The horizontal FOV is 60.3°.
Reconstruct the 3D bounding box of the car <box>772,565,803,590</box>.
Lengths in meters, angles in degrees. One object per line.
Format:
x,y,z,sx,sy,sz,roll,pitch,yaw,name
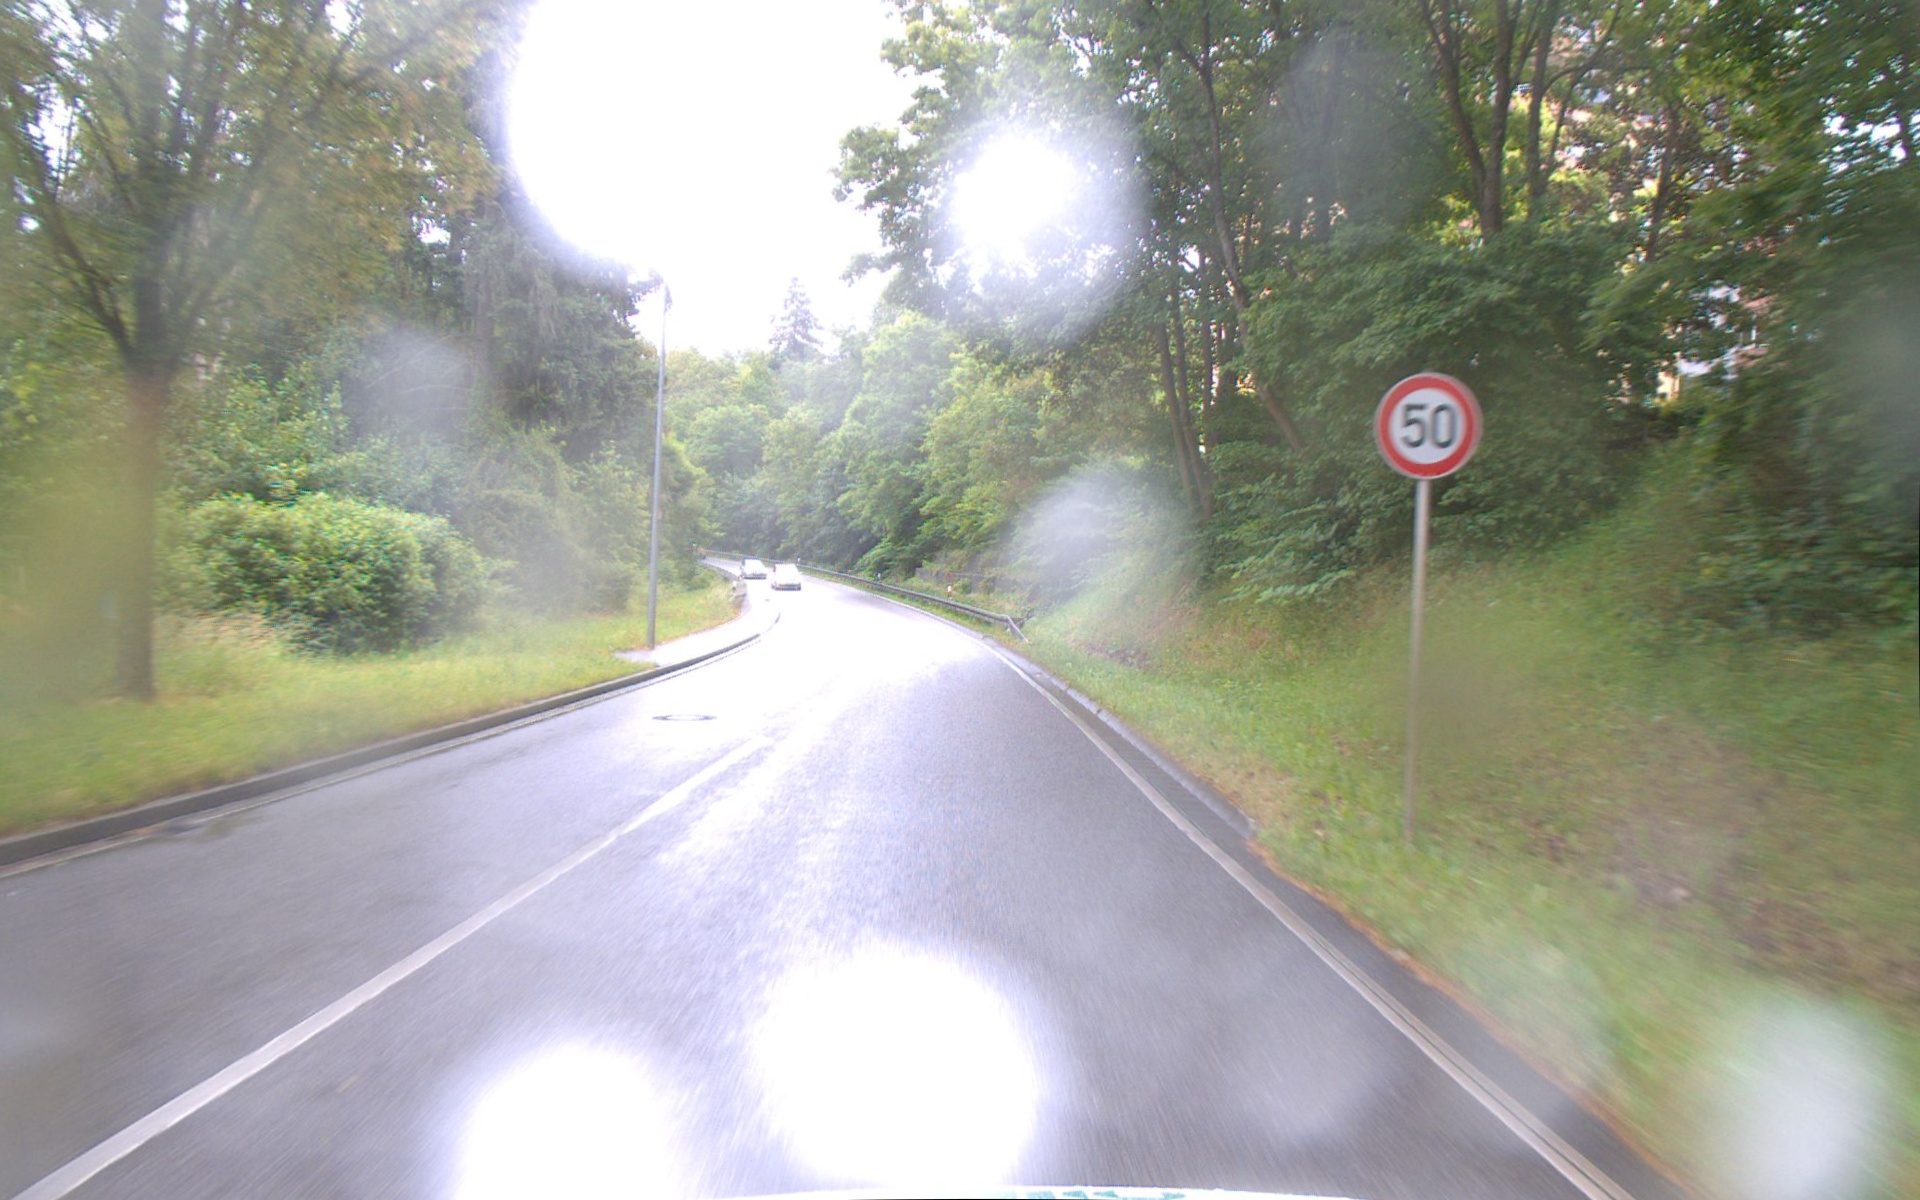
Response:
-11.824,-1.540,113.353,1.782,1.676,4.121,0,1,-11,car

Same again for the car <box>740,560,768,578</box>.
-16.430,-2.456,132.070,1.783,1.459,3.986,0,1,-14,car

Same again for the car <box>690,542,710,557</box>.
-26.428,-5.130,168.145,1.702,1.536,3.997,-1,1,-4,car

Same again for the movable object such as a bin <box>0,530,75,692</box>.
-18.211,0.169,29.624,1.951,2.911,4.003,2,0,13,movable object such as a bin
